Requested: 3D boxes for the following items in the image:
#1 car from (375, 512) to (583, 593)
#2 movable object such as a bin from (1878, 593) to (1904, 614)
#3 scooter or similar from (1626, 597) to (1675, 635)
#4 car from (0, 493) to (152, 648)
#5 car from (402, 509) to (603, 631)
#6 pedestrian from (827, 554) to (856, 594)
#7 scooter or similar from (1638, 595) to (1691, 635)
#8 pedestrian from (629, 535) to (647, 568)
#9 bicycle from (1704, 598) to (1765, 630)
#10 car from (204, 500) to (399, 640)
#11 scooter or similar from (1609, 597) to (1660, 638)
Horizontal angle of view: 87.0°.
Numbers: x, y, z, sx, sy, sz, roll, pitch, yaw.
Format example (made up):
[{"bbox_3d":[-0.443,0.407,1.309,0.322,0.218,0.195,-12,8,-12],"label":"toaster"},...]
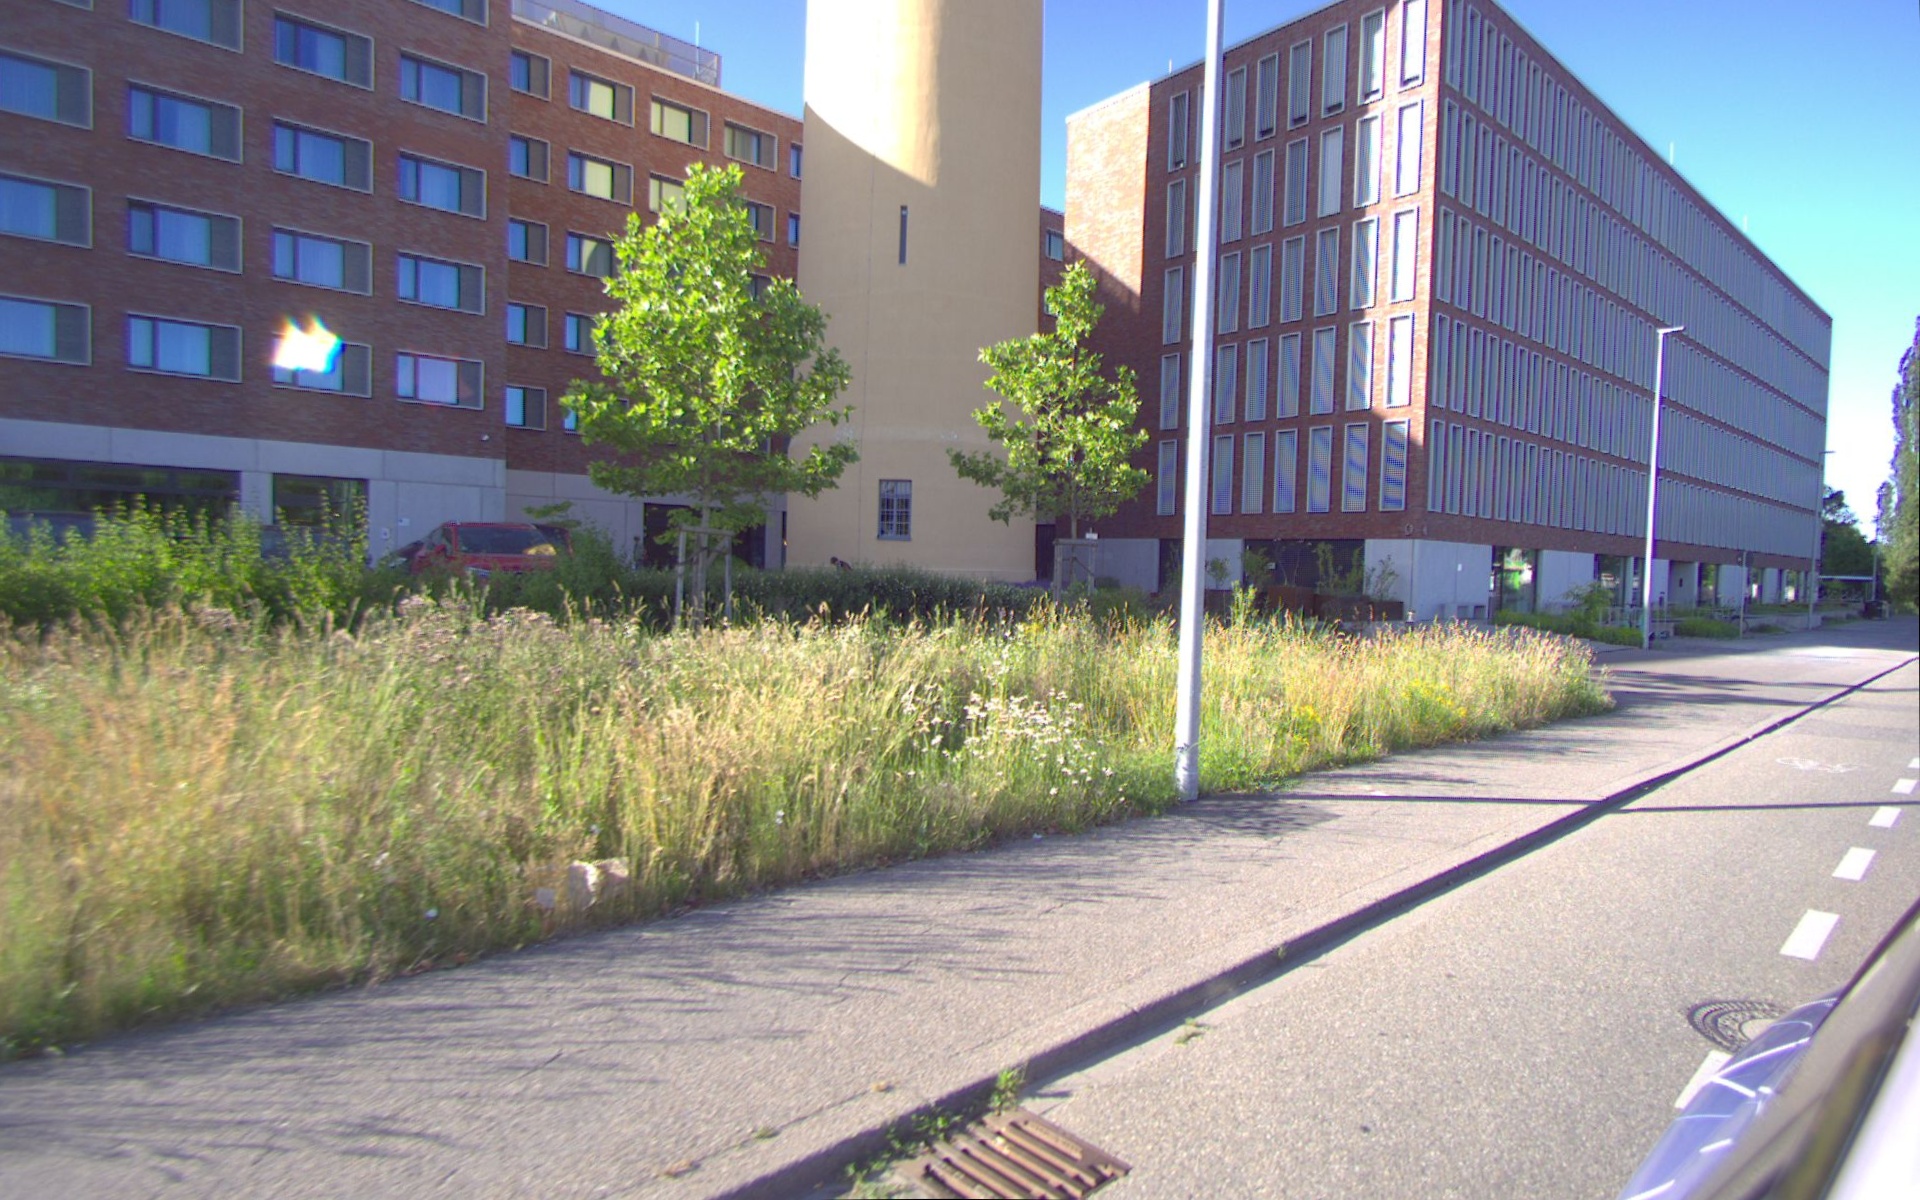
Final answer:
[{"bbox_3d":[-12.906,-1.207,27.311,4.710,1.959,1.975,0,1,-42],"label":"car"},{"bbox_3d":[62.616,0.254,68.054,1.323,1.352,1.130,0,2,-44],"label":"movable object such as a bin"},{"bbox_3d":[22.556,0.524,33.064,0.359,1.170,1.246,1,2,-38],"label":"scooter or similar"},{"bbox_3d":[-10.999,-0.361,12.307,1.818,1.600,4.195,1,1,-39],"label":"car"},{"bbox_3d":[-7.106,-0.444,15.482,1.818,1.600,4.195,1,1,-39],"label":"car"},{"bbox_3d":[-3.547,-0.791,30.281,0.800,1.150,0.758,2,3,-7],"label":"pedestrian"},{"bbox_3d":[23.727,0.497,34.102,0.416,1.260,1.344,1,2,-38],"label":"scooter or similar"},{"bbox_3d":[-11.339,-1.703,35.634,0.341,1.155,0.525,1,2,44],"label":"pedestrian"},{"bbox_3d":[32.132,0.559,41.989,1.931,1.184,0.369,5,3,42],"label":"bicycle"},{"bbox_3d":[-9.047,-0.398,13.745,1.818,1.600,4.195,1,1,-39],"label":"car"},{"bbox_3d":[21.397,0.548,32.116,0.334,1.209,1.246,1,2,-38],"label":"scooter or similar"}]
